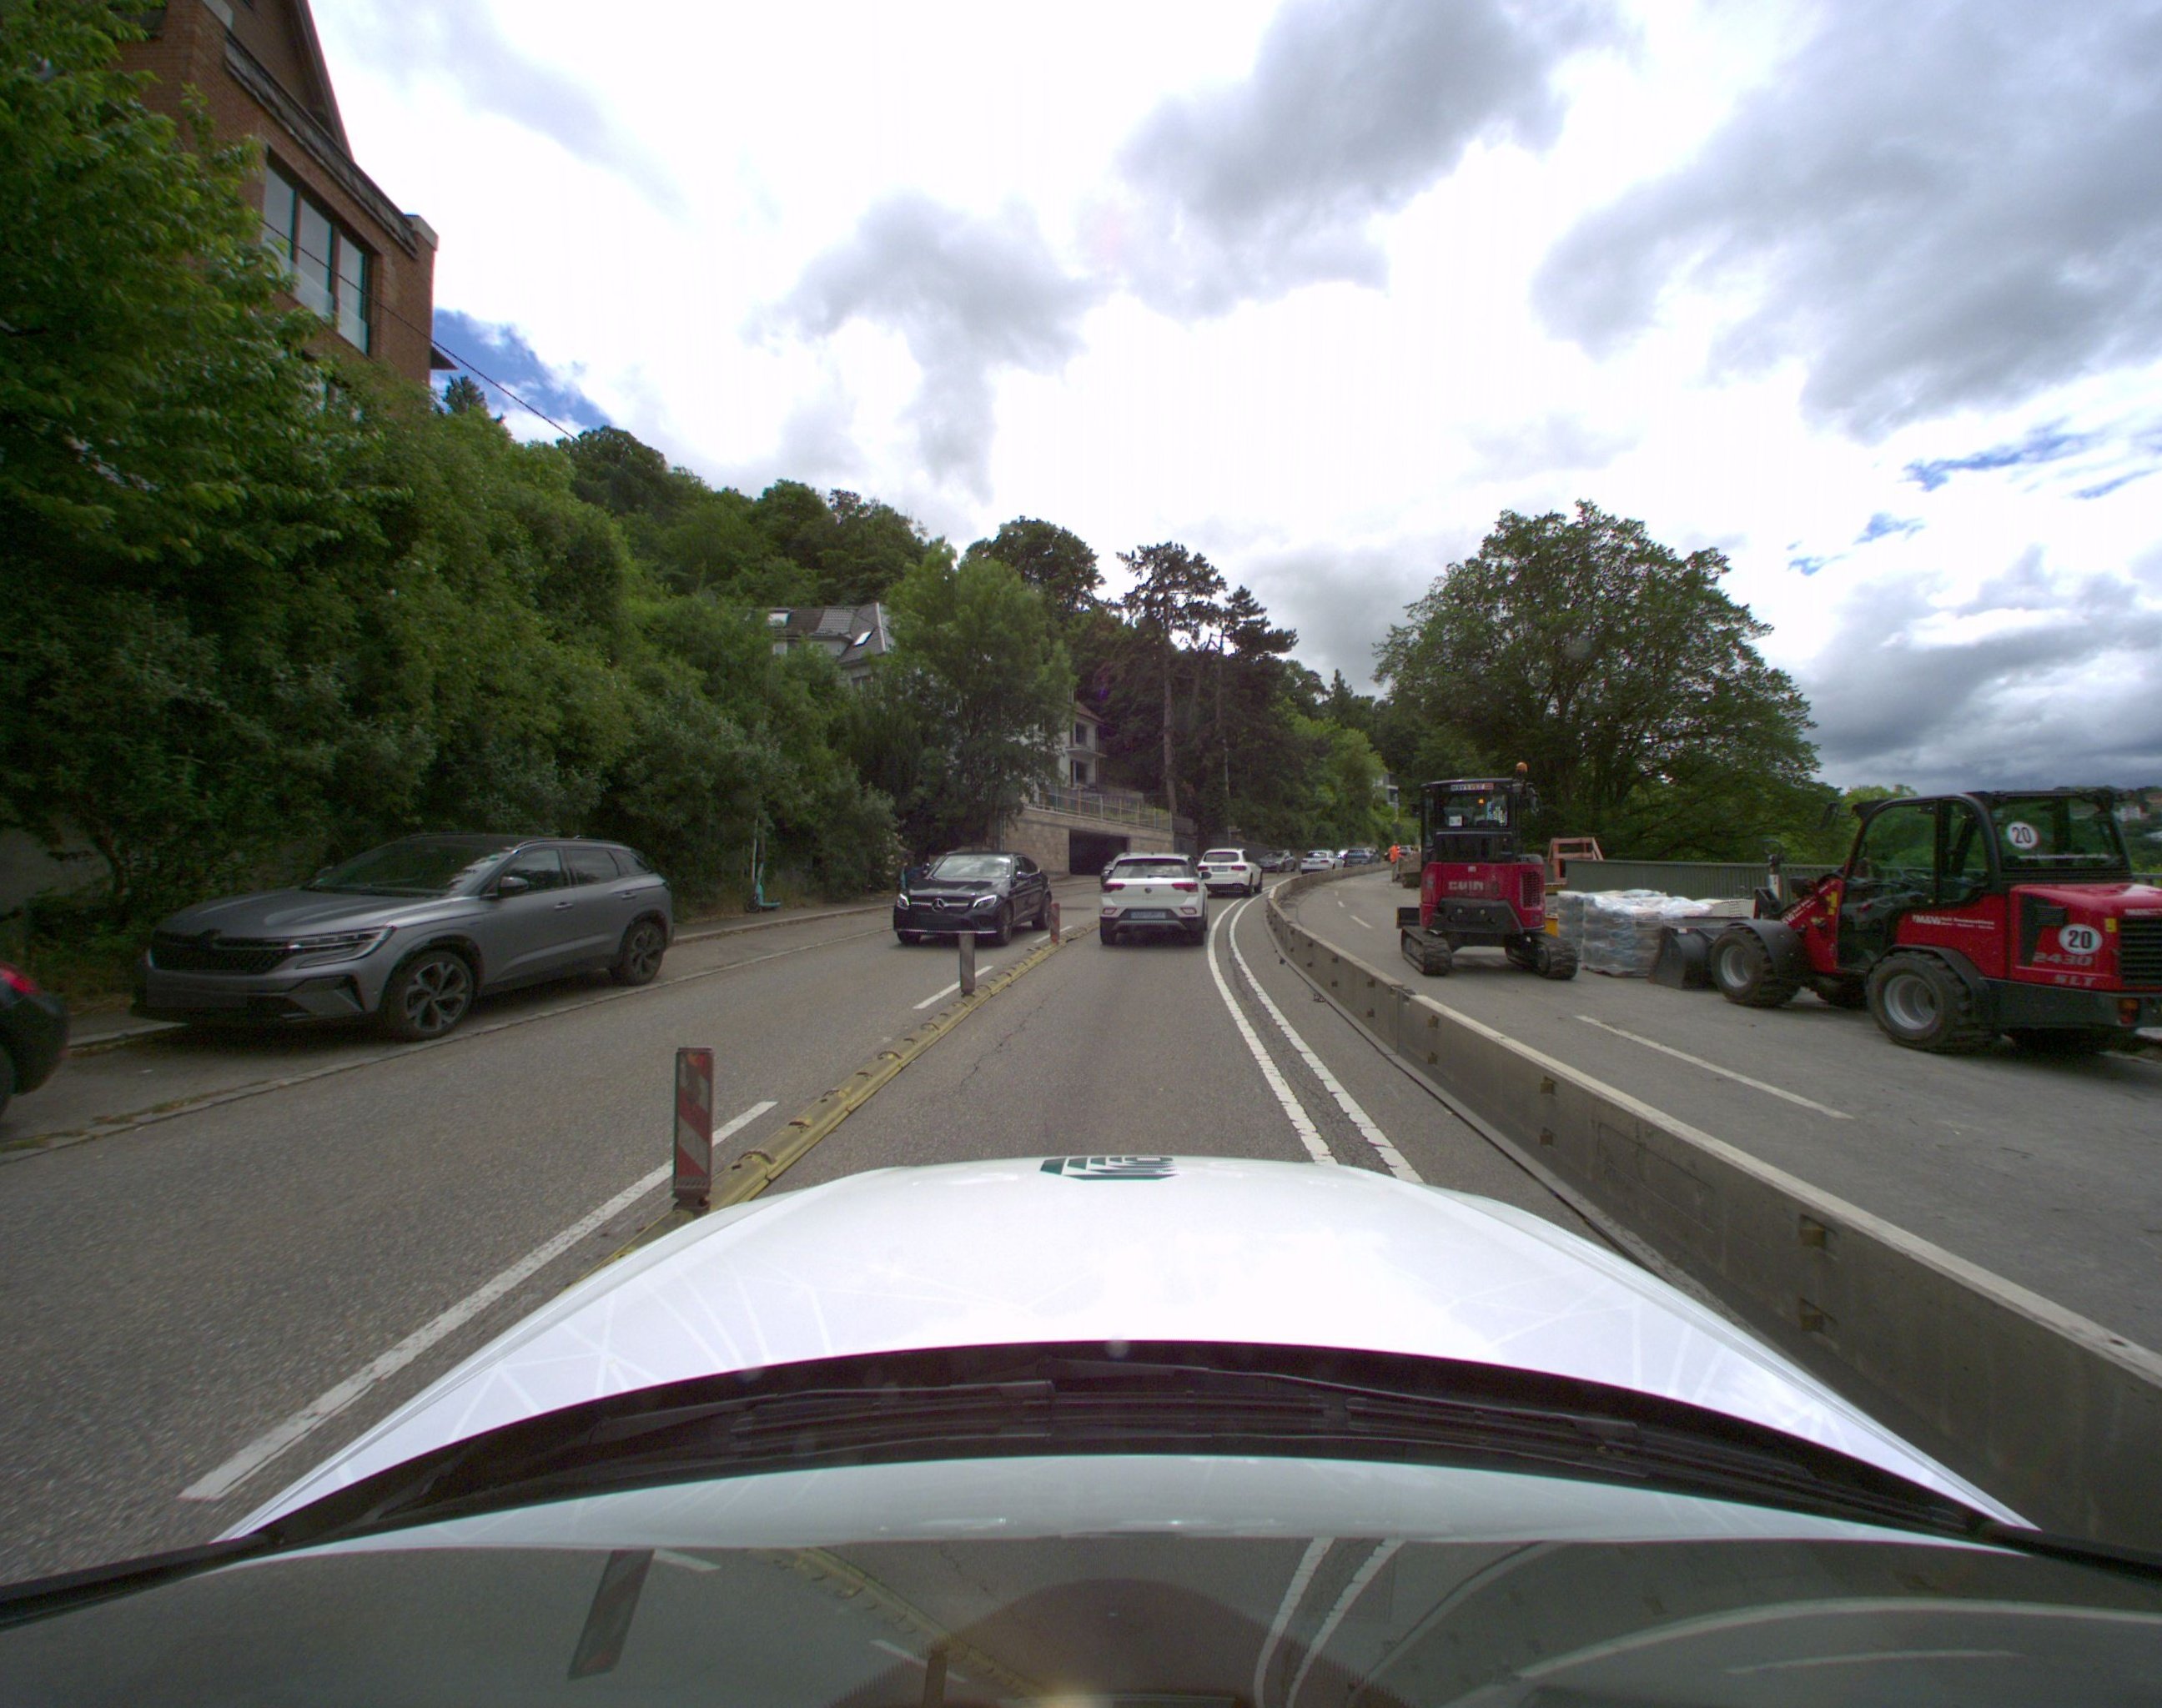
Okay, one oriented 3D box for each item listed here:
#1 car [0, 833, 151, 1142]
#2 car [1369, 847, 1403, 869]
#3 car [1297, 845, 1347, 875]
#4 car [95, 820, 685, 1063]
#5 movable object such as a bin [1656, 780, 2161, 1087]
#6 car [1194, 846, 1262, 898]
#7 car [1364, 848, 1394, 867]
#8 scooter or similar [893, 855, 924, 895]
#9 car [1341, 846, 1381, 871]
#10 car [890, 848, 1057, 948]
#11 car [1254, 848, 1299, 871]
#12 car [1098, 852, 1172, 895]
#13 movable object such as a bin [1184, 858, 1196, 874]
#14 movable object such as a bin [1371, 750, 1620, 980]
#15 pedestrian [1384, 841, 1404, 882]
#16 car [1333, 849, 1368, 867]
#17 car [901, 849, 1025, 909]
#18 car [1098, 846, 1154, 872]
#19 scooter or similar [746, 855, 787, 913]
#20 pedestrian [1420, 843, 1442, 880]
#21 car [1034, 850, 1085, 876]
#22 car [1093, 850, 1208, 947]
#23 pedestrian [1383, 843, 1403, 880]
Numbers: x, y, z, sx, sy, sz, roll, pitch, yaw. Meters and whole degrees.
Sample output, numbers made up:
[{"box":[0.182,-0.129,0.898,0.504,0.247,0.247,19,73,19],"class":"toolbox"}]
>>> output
[{"box":[-6.242,0.631,2.607,1.787,1.510,4.002,2,0,2],"class":"car"},{"box":[25.035,0.298,66.807,1.792,1.663,4.025,-2,0,32],"class":"car"},{"box":[14.326,0.338,48.352,1.792,1.663,4.025,-2,0,32],"class":"car"},{"box":[-5.808,0.599,7.706,1.678,1.606,4.193,2,0,6],"class":"car"},{"box":[7.281,0.493,7.209,1.693,1.943,4.170,0,0,4],"class":"movable object such as a bin"},{"box":[5.213,0.571,28.434,1.795,1.663,4.018,-2,0,18],"class":"car"},{"box":[27.589,0.328,75.354,1.792,1.663,4.025,-2,0,32],"class":"car"},{"box":[-5.426,0.644,25.646,0.412,1.232,1.126,2,0,17],"class":"scooter or similar"},{"box":[19.939,0.328,57.896,1.792,1.663,4.025,-2,0,32],"class":"car"},{"box":[-1.800,0.686,15.092,1.756,1.568,4.243,0,0,11],"class":"car"},{"box":[12.934,0.340,53.752,1.750,1.435,4.335,-1,0,29],"class":"car"},{"box":[2.145,0.685,31.058,1.753,1.518,4.045,0,0,20],"class":"car"},{"box":[6.807,0.725,50.965,0.543,0.977,0.513,-2,-1,32],"class":"movable object such as a bin"},{"box":[5.753,0.124,12.094,2.196,2.663,4.963,0,0,13],"class":"movable object such as a bin"},{"box":[14.881,0.335,38.699,0.687,1.906,0.827,-1,0,6],"class":"pedestrian"},{"box":[22.903,0.290,69.114,1.750,1.452,4.336,1,1,32],"class":"car"},{"box":[-3.155,0.632,22.900,1.723,1.451,4.701,2,1,14],"class":"car"},{"box":[2.639,0.313,47.301,1.765,1.453,3.725,0,-2,29],"class":"car"},{"box":[-6.888,0.636,17.868,0.347,1.213,1.048,2,0,6],"class":"scooter or similar"},{"box":[16.264,0.344,37.876,0.775,1.688,0.790,-1,0,34],"class":"pedestrian"},{"box":[-1.213,0.561,48.264,1.755,1.419,3.563,0,-2,21],"class":"car"},{"box":[1.423,0.711,15.121,1.799,1.531,4.011,0,0,9],"class":"car"},{"box":[15.600,0.354,40.694,0.869,1.822,0.882,-1,0,18],"class":"pedestrian"}]
